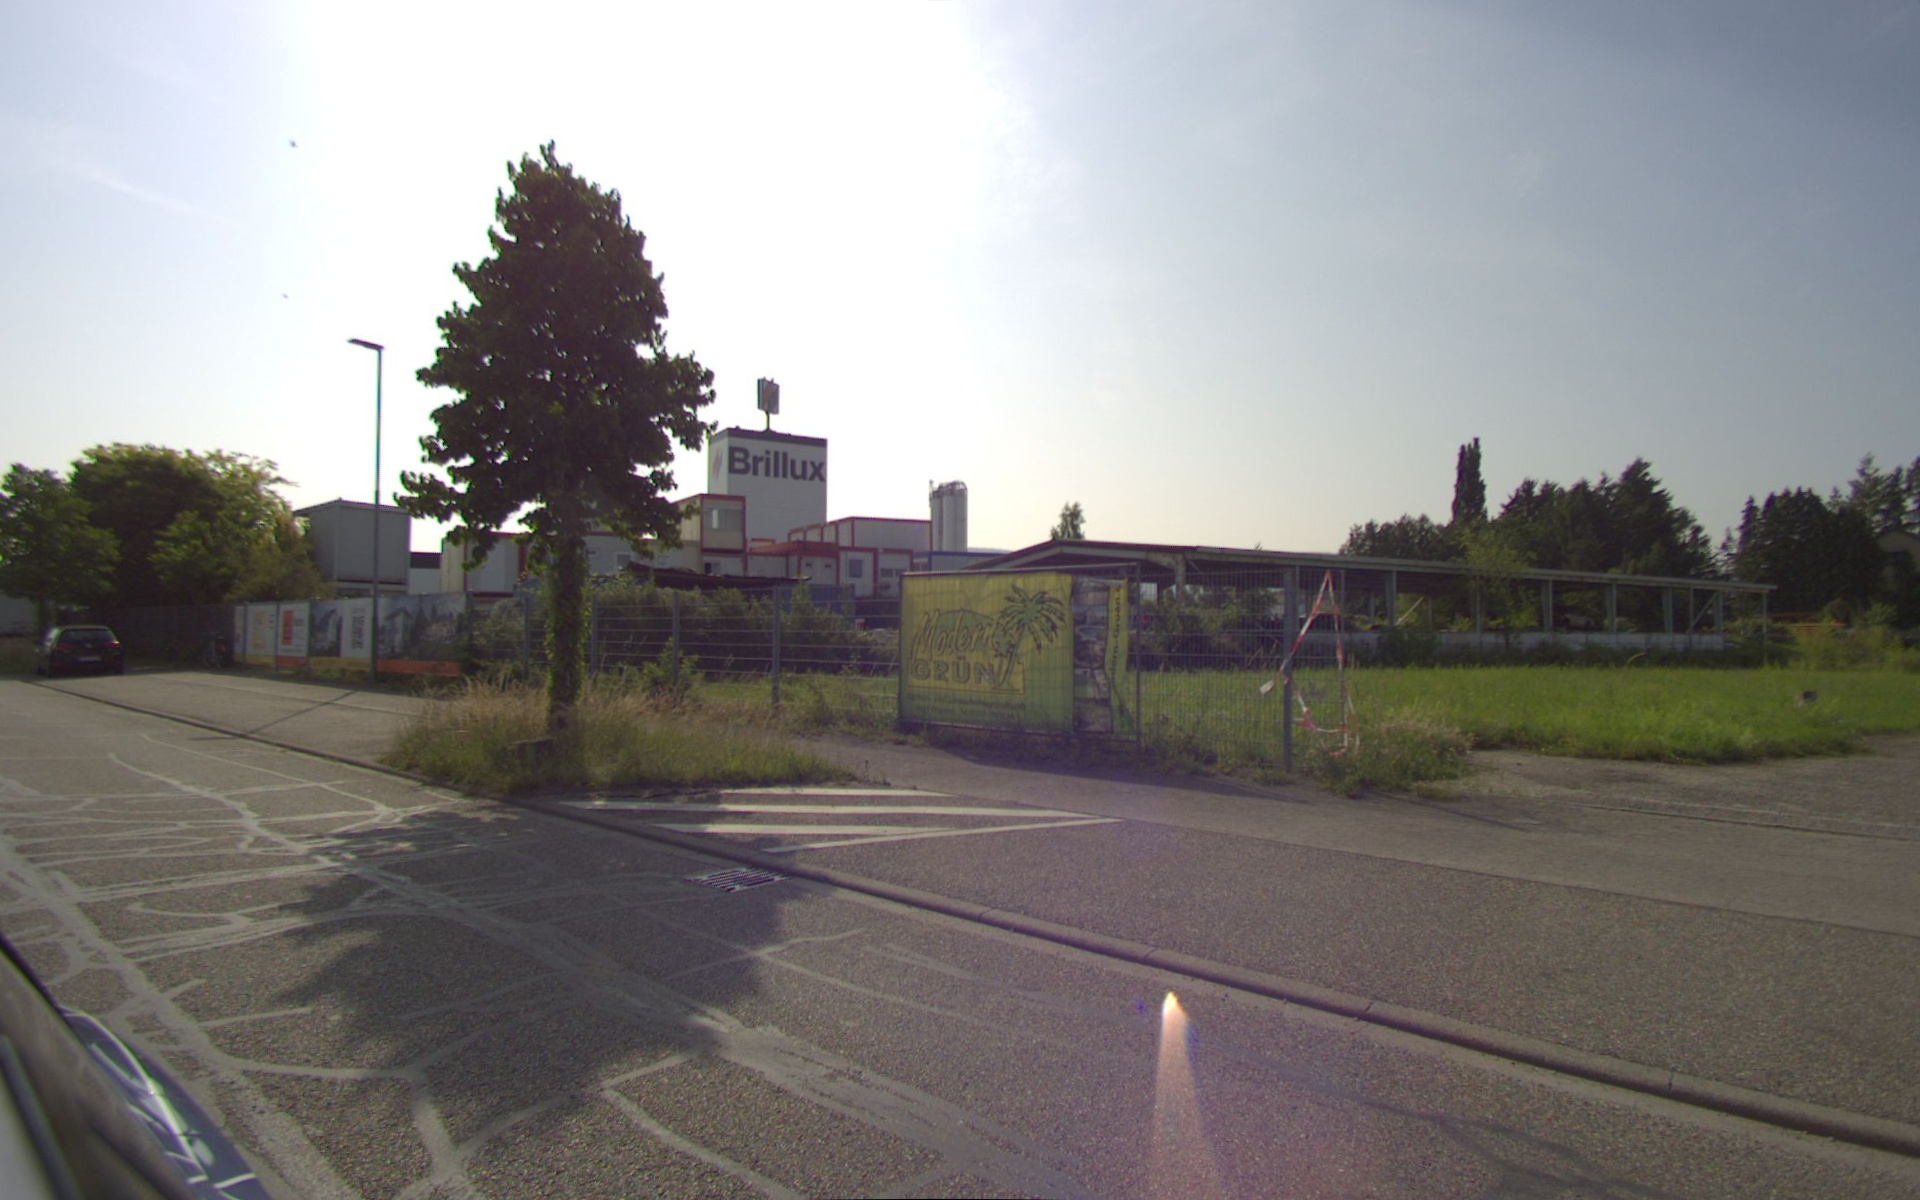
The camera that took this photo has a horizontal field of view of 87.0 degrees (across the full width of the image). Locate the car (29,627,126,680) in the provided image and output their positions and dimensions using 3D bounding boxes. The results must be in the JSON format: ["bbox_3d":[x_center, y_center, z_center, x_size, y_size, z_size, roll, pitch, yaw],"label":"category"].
[{"bbox_3d":[-26.332,1.548,30.154,4.092,1.481,1.669,-2,-2,42],"label":"car"}]

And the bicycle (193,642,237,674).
[{"bbox_3d":[-23.769,1.841,32.280,2.450,0.980,0.556,-1,-3,40],"label":"bicycle"}]

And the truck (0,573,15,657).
[{"bbox_3d":[-48.817,0.787,49.693,9.632,3.914,2.684,-1,-1,42],"label":"truck"}]

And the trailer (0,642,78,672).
[{"bbox_3d":[-35.473,2.113,37.993,6.238,0.993,2.622,-1,-3,40],"label":"trailer"}]

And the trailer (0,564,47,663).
[{"bbox_3d":[-41.556,0.615,43.233,9.759,3.914,2.672,-1,-1,41],"label":"trailer"}]

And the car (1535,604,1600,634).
[{"bbox_3d":[37.117,1.182,61.824,3.835,1.821,1.752,1,-2,-30],"label":"car"}]
